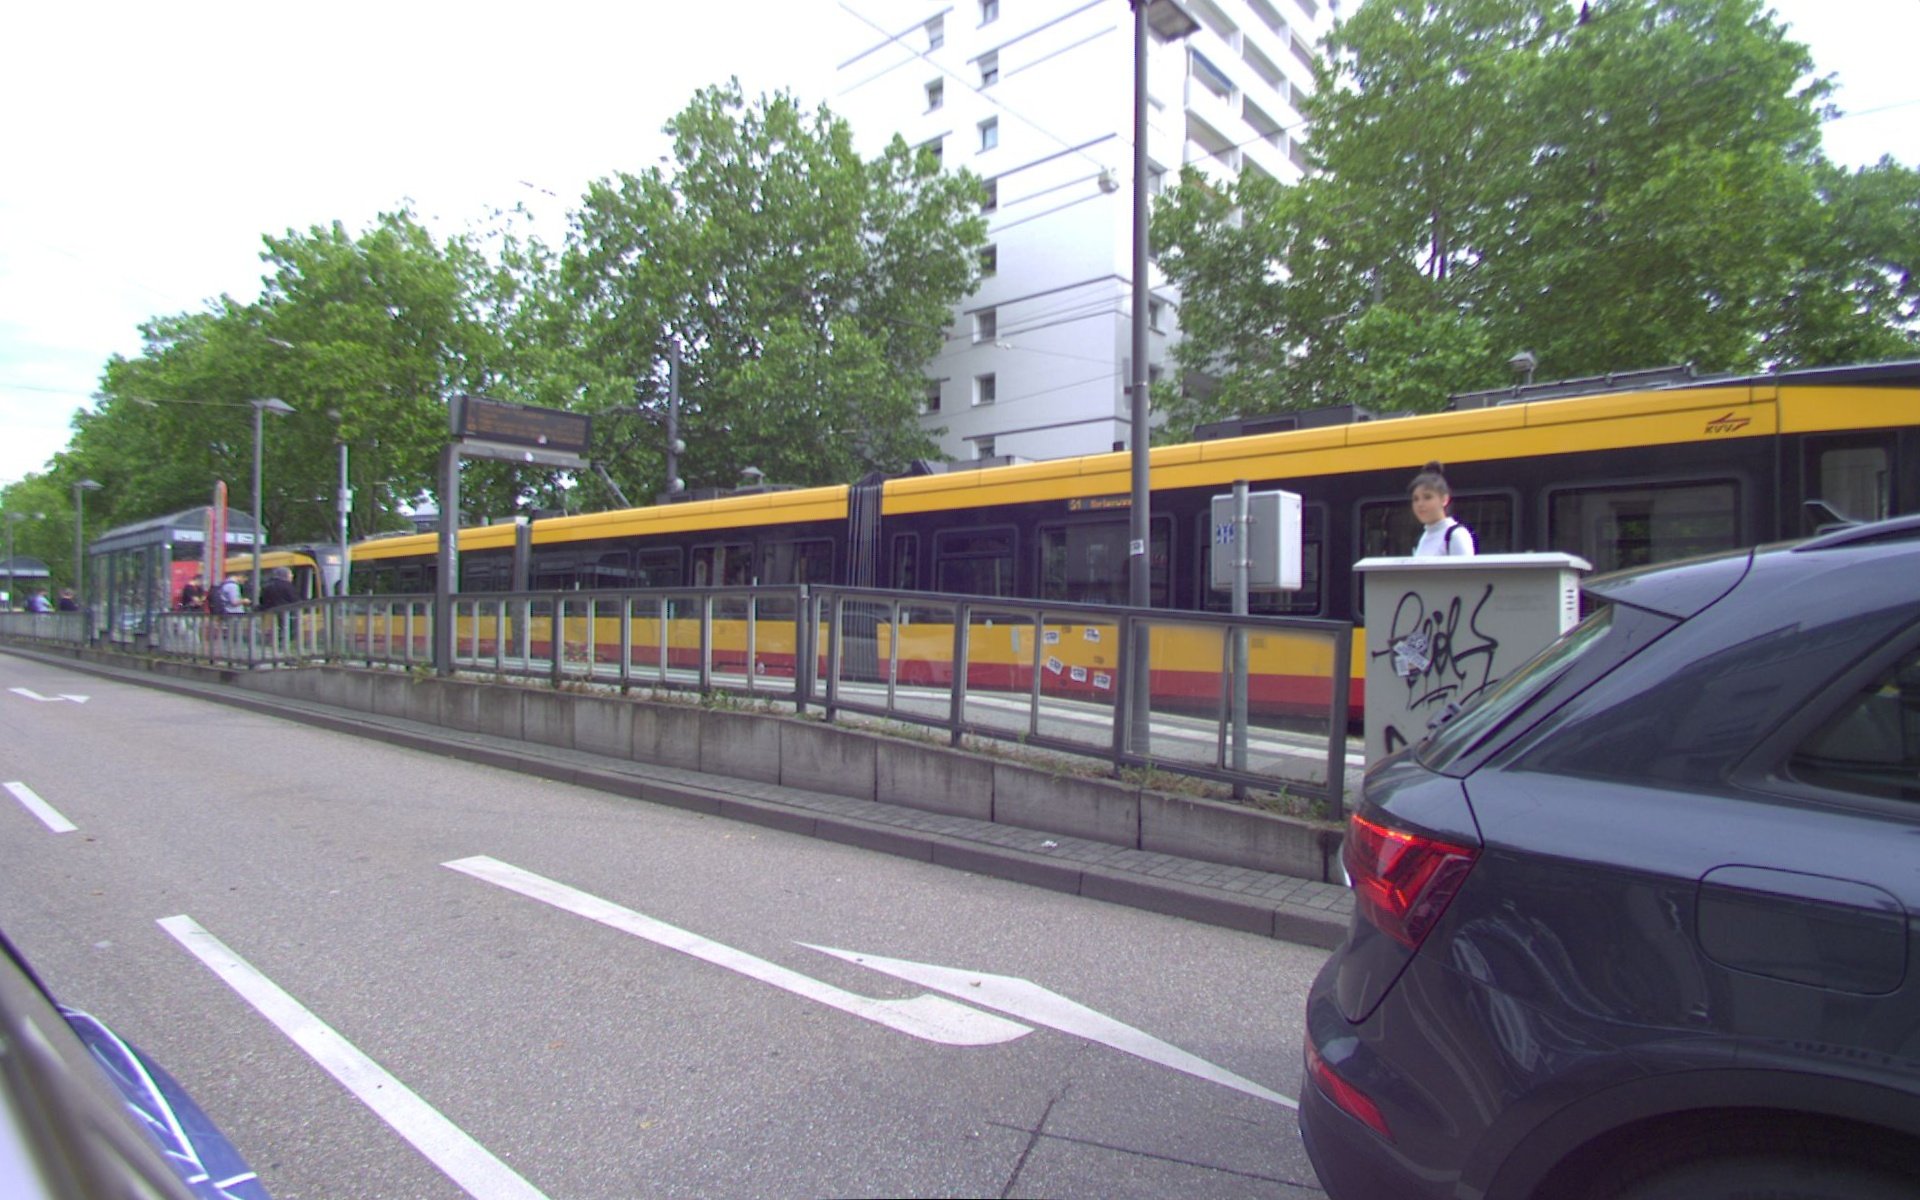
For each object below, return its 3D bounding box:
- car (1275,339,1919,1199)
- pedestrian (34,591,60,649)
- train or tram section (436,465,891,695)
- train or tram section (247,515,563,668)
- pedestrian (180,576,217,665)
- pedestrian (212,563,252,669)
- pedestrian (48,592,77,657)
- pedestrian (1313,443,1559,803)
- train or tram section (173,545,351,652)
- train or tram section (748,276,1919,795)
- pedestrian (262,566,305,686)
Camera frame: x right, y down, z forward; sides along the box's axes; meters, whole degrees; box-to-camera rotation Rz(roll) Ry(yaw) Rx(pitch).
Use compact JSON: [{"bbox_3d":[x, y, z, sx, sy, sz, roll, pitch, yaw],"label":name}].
[{"bbox_3d":[2.690,0.495,0.984,4.225,1.649,1.715,-1,0,41],"label":"car"},{"bbox_3d":[-29.036,0.625,32.197,0.523,1.818,0.607,-1,0,-35],"label":"pedestrian"},{"bbox_3d":[-7.103,-0.288,22.015,12.543,3.781,3.295,-1,0,41],"label":"train or tram section"},{"bbox_3d":[-17.947,-0.150,31.535,16.241,3.781,3.295,-1,0,41],"label":"train or tram section"},{"bbox_3d":[-15.924,0.422,21.174,0.467,1.818,0.607,-1,0,-24],"label":"pedestrian"},{"bbox_3d":[-12.750,0.270,17.729,0.605,1.818,0.469,-1,0,45],"label":"pedestrian"},{"bbox_3d":[-25.567,0.695,28.835,0.523,1.818,0.607,-1,0,-35],"label":"pedestrian"},{"bbox_3d":[2.381,0.111,5.183,0.969,1.683,0.718,-1,0,12],"label":"pedestrian"},{"bbox_3d":[-28.171,-0.019,40.533,11.039,3.781,3.295,-1,0,41],"label":"train or tram section"},{"bbox_3d":[3.322,-0.422,12.806,15.196,3.781,3.295,-1,0,41],"label":"train or tram section"},{"bbox_3d":[-10.528,0.392,15.754,0.513,1.818,0.606,-1,0,-37],"label":"pedestrian"}]
